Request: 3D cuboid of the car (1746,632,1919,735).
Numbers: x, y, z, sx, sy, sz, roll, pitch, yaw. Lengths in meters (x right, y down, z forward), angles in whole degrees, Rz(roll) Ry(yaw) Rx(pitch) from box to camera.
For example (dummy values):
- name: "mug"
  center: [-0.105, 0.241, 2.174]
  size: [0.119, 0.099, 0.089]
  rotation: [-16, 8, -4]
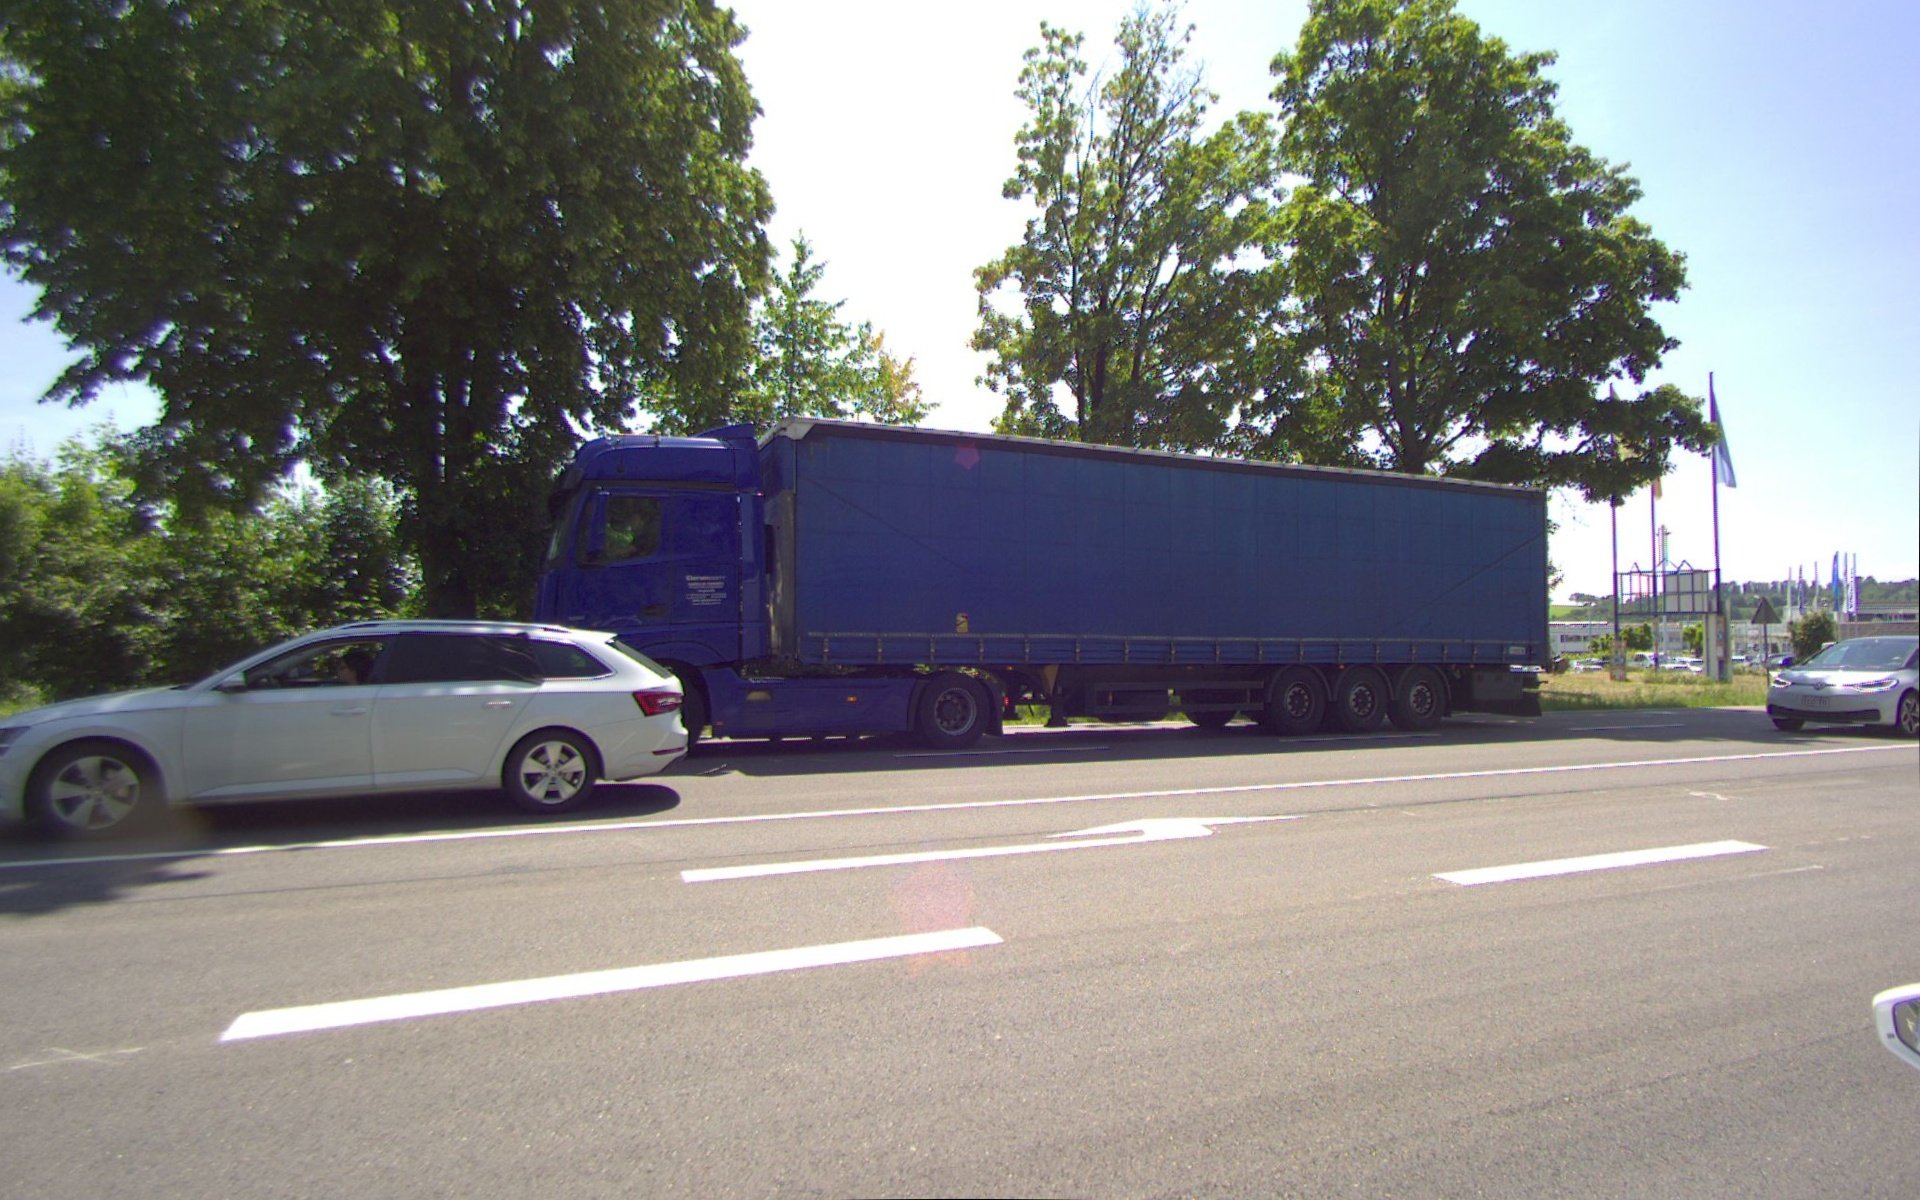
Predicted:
- name: "car"
  center: [15.321, 1.311, 16.647]
  size: [4.126, 1.542, 1.789]
  rotation: [1, -3, -22]

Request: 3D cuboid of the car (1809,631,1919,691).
- name: "car"
  center: [42.334, 2.741, 45.073]
  size: [2.168, 2.519, 5.971]
  rotation: [1, -6, -28]

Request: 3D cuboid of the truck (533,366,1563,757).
- name: "truck"
  center: [2.362, -0.154, 15.473]
  size: [16.341, 4.231, 2.962]
  rotation: [2, -3, -24]

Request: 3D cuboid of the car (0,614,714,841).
- name: "car"
  center: [-4.401, 0.893, 8.048]
  size: [4.499, 1.433, 1.696]
  rotation: [2, -2, -24]

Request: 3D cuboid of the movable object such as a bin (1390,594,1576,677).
- name: "movable object such as a bin"
  center: [22.293, 1.535, 43.271]
  size: [6.658, 3.342, 3.053]
  rotation: [-1, -2, 19]
